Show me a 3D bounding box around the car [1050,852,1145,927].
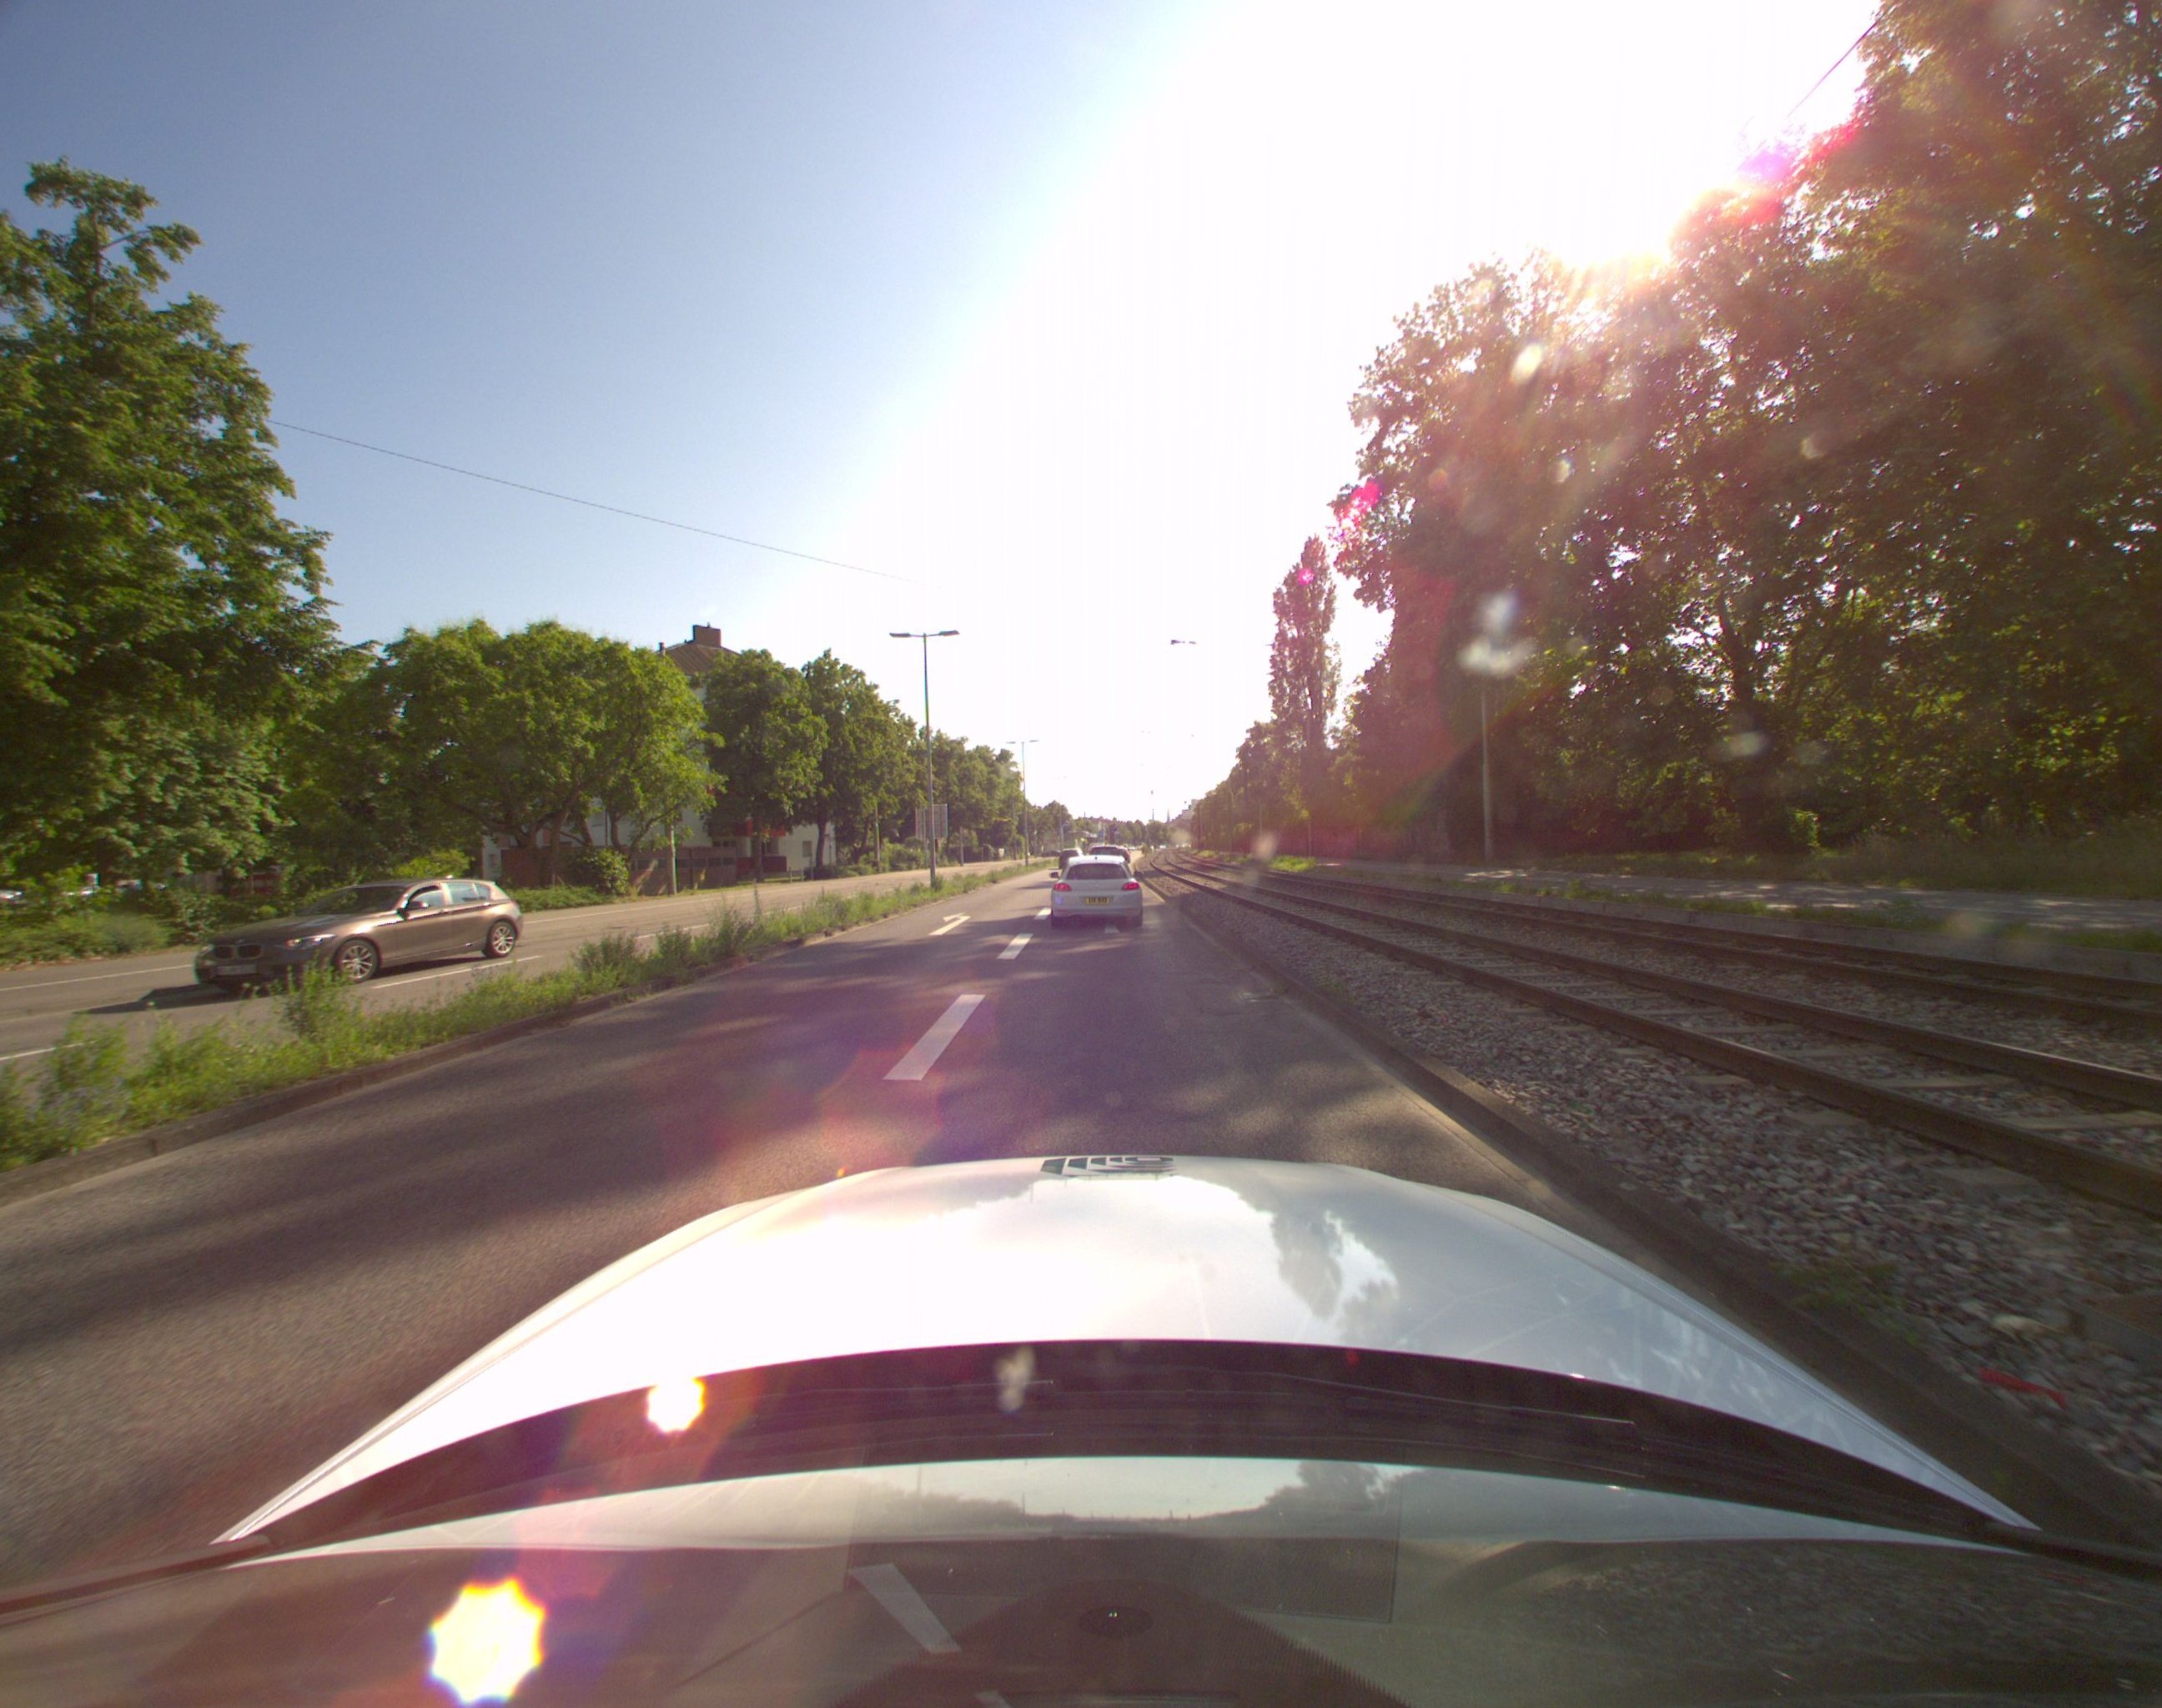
[{"bbox_3d":[0.379,0.660,17.082,1.774,1.356,3.603,0,1,2],"label":"car"}]

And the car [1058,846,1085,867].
[{"bbox_3d":[-0.643,0.143,60.467,1.753,1.485,4.648,0,1,2],"label":"car"}]

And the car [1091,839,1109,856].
[{"bbox_3d":[2.255,-0.778,95.909,1.809,1.963,4.408,-2,0,5],"label":"car"}]

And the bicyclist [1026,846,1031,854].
[{"bbox_3d":[-9.179,-0.686,143.066,0.658,1.452,1.054,-2,0,9],"label":"bicyclist"}]

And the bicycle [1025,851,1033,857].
[{"bbox_3d":[-9.148,0.052,143.060,0.658,1.049,2.587,-2,0,9],"label":"bicycle"}]

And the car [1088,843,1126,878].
[{"bbox_3d":[1.260,0.289,39.129,1.717,1.592,3.603,0,1,2],"label":"car"}]

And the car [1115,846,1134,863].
[{"bbox_3d":[4.037,0.022,75.452,1.742,1.485,3.603,0,1,2],"label":"car"}]

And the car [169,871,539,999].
[{"bbox_3d":[-10.813,1.090,12.663,1.717,1.419,4.327,-3,1,2],"label":"car"}]
